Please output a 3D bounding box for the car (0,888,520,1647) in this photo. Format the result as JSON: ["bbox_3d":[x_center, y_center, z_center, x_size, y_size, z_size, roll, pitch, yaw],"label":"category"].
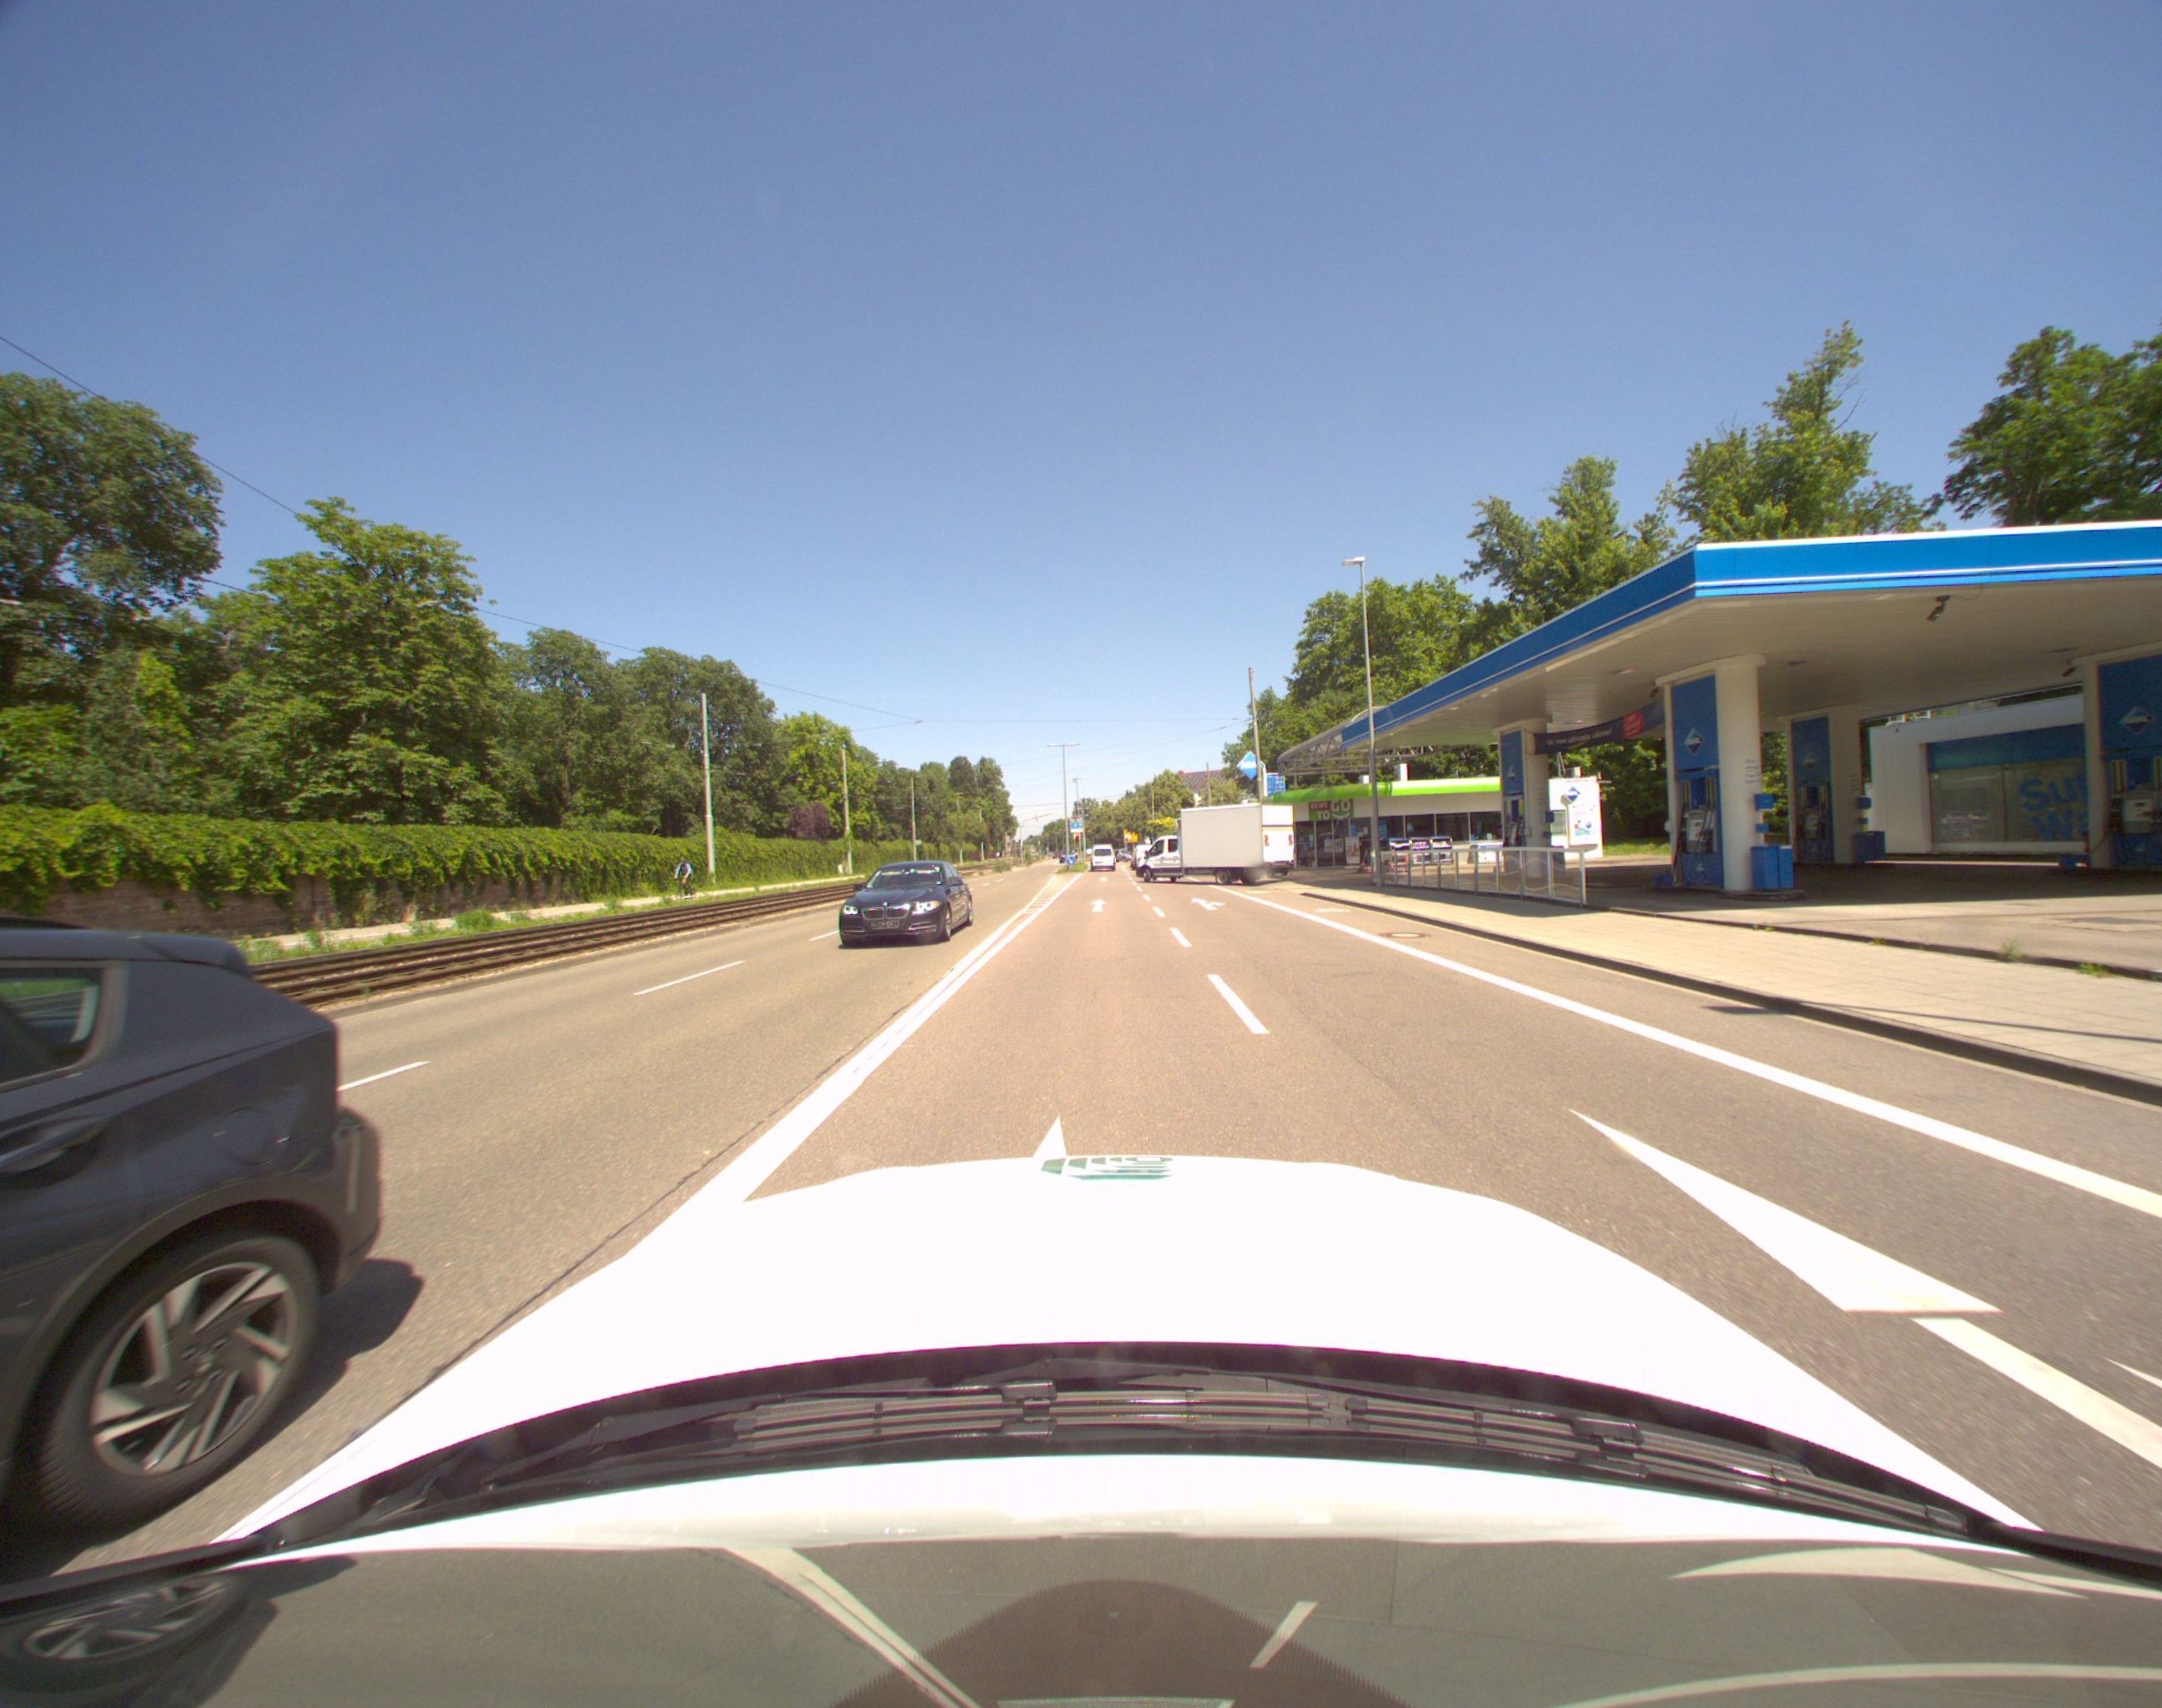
[{"bbox_3d":[-3.030,0.894,0.961,1.707,1.422,4.143,-3,0,2],"label":"car"}]

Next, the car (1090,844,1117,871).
[{"bbox_3d":[1.581,0.254,58.363,1.860,1.836,3.849,-2,0,1],"label":"car"}]

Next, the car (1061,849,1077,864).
[{"bbox_3d":[-1.573,0.328,105.198,1.989,1.829,4.535,-3,0,-3],"label":"car"}]

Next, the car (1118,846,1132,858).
[{"bbox_3d":[6.978,-0.329,130.198,1.986,1.859,4.001,-3,0,1],"label":"car"}]

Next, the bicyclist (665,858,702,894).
[{"bbox_3d":[-17.019,0.940,34.888,0.991,1.486,1.001,-2,0,2],"label":"bicyclist"}]

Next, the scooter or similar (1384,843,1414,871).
[{"bbox_3d":[13.984,0.114,35.827,1.131,1.176,0.384,-2,0,2],"label":"scooter or similar"}]

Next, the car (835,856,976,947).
[{"bbox_3d":[-3.182,0.787,15.675,1.788,1.399,4.446,-2,0,-1],"label":"car"}]

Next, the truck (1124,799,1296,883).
[{"bbox_3d":[5.573,-0.485,36.491,2.441,3.391,7.740,-3,0,-41],"label":"truck"}]

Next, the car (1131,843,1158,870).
[{"bbox_3d":[4.562,0.137,59.213,1.703,1.830,4.015,-2,0,2],"label":"car"}]

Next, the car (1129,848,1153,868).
[{"bbox_3d":[4.916,0.296,67.092,1.749,1.486,4.001,-3,0,1],"label":"car"}]

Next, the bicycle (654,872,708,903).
[{"bbox_3d":[-17.008,1.420,34.728,0.825,1.156,2.687,-2,0,3],"label":"bicycle"}]
